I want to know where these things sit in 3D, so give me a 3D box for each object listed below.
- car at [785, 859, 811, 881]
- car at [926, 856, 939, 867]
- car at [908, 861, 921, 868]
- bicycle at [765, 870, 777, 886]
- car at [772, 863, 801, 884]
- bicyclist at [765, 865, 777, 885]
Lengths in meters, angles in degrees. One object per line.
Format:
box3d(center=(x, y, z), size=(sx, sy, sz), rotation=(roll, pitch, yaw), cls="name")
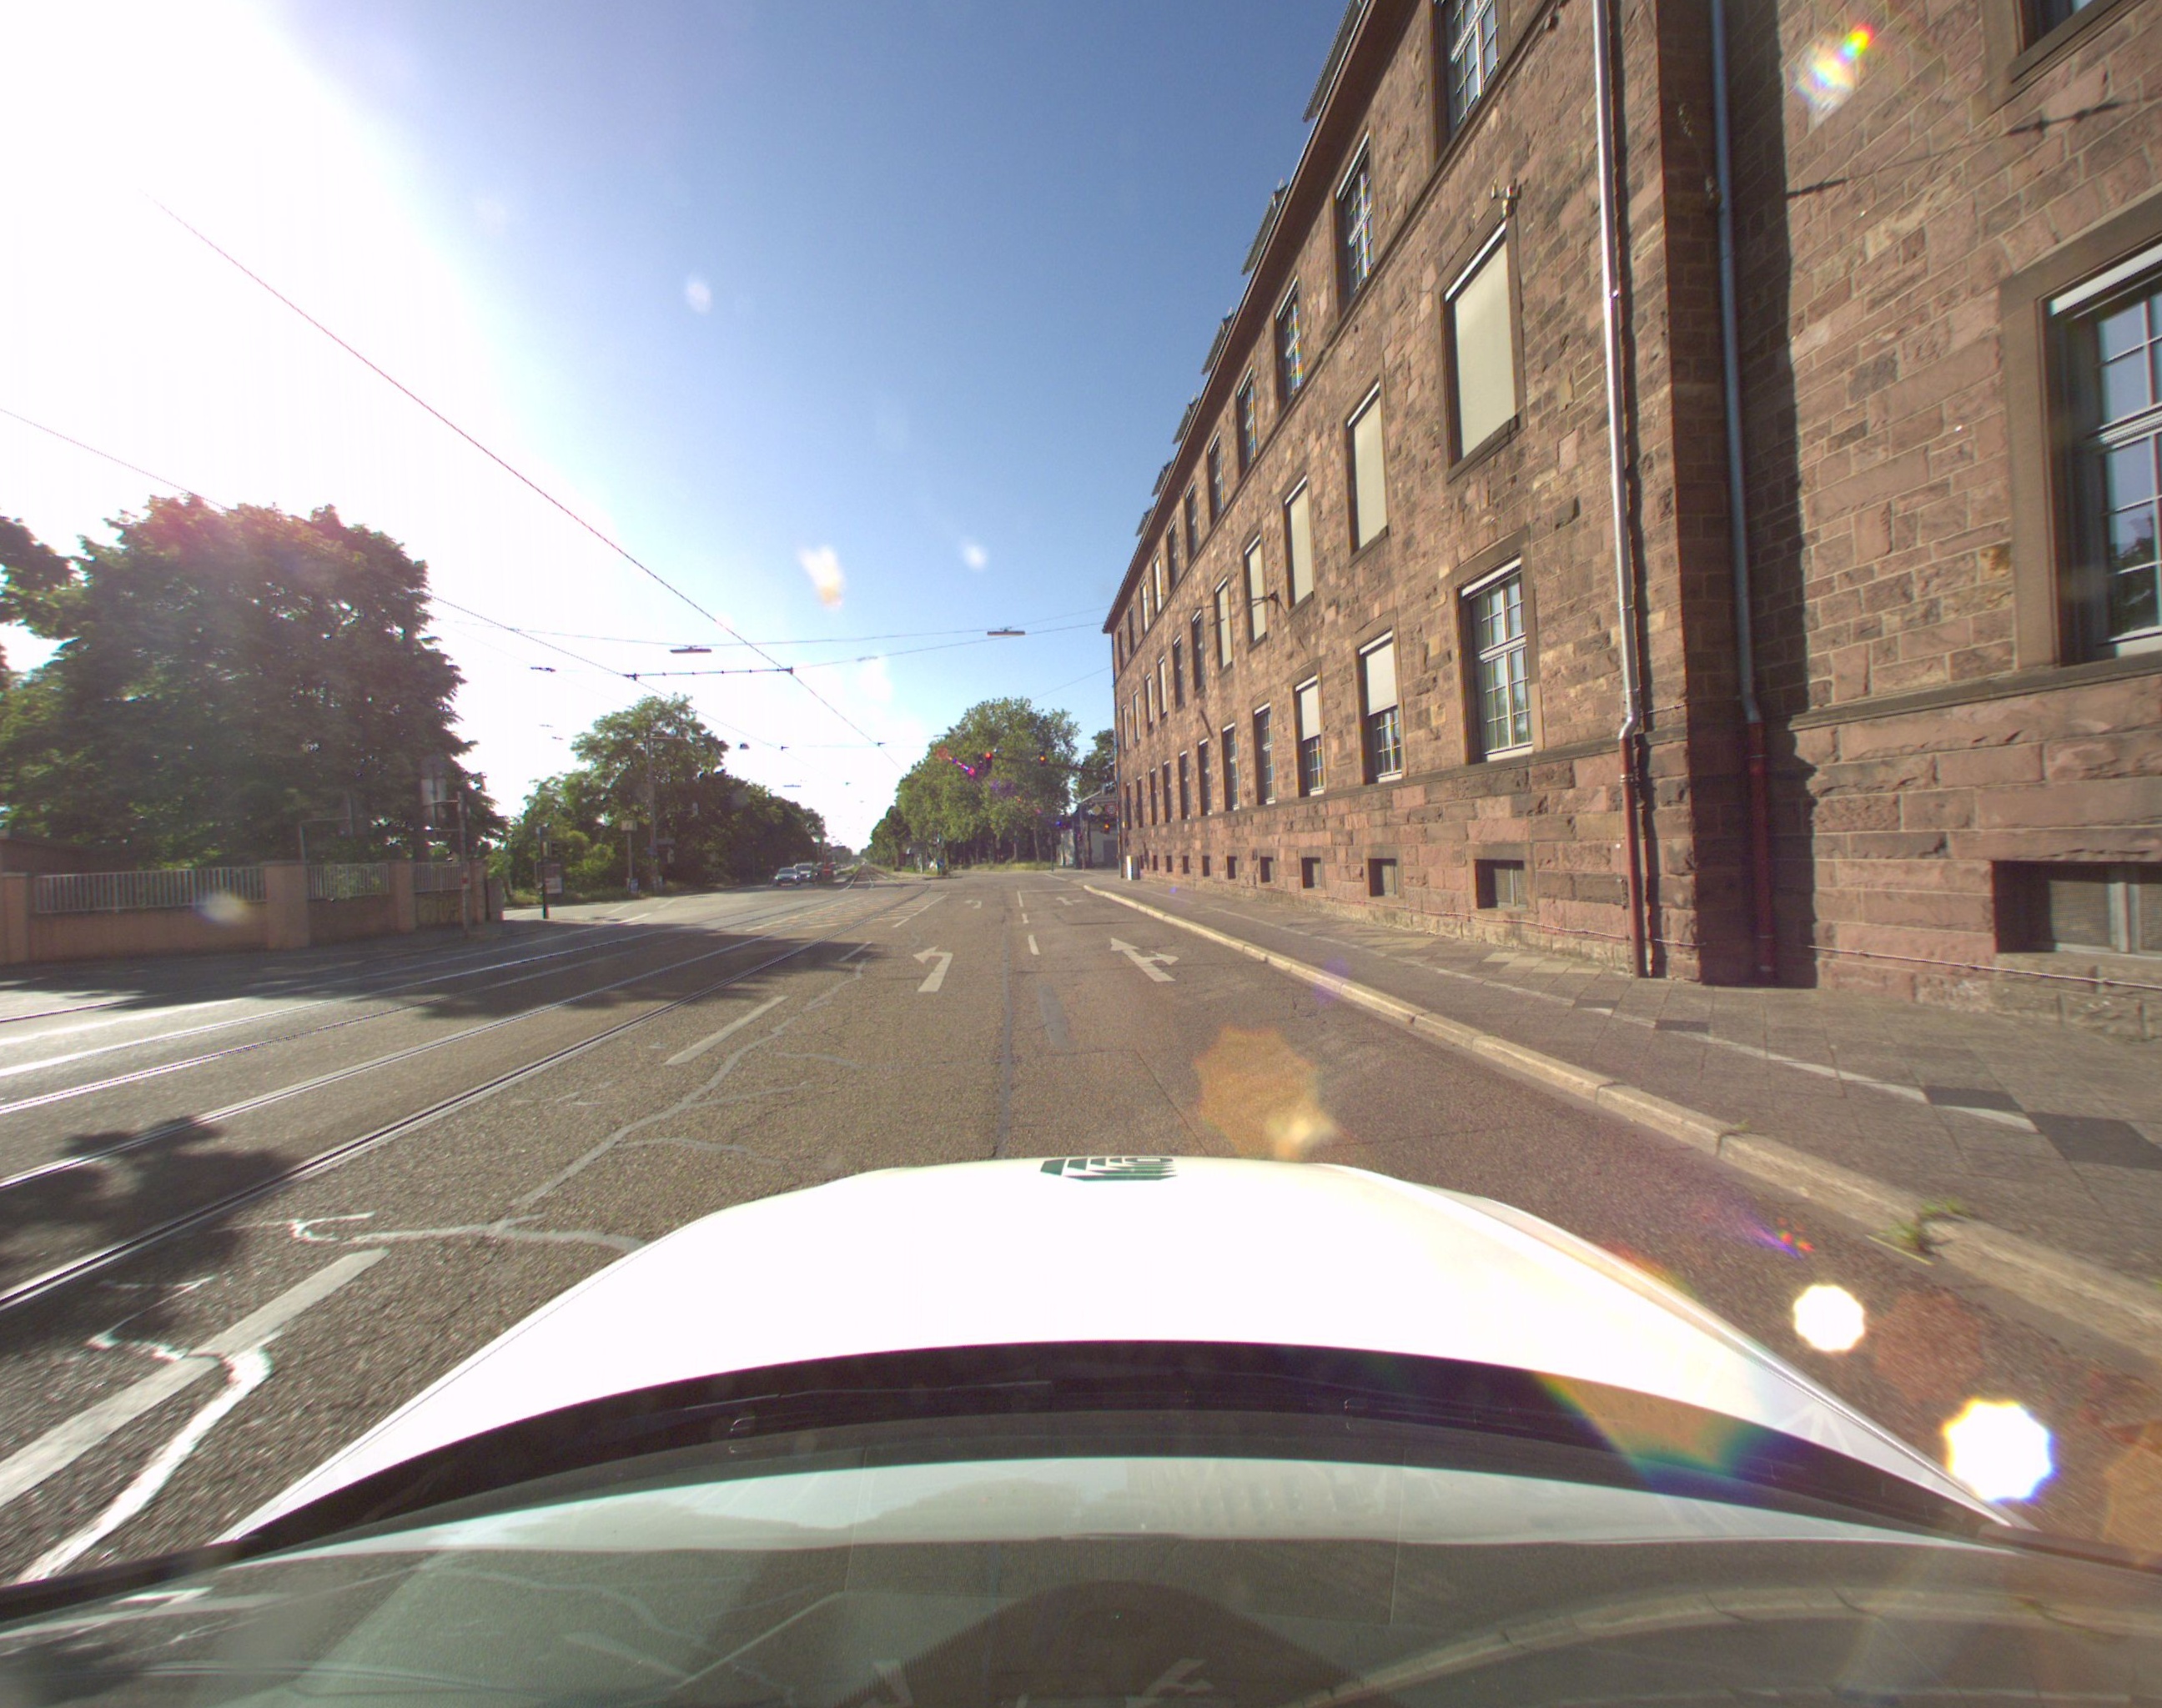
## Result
box3d(center=(-24.930, 1.384, 71.804), size=(2.000, 1.760, 3.975), rotation=(-3, 0, -19), cls="car")
box3d(center=(-23.360, 1.194, 128.075), size=(1.943, 1.610, 3.985), rotation=(-3, 0, -11), cls="car")
box3d(center=(-38.573, 2.468, 188.717), size=(1.953, 1.610, 3.966), rotation=(-4, 0, -26), cls="car")
box3d(center=(-23.603, 1.807, 61.997), size=(0.752, 1.087, 2.162), rotation=(-3, 0, -20), cls="bicycle")
box3d(center=(-23.635, 1.552, 65.497), size=(2.000, 1.504, 3.975), rotation=(-3, 0, -19), cls="car")
box3d(center=(-23.599, 1.589, 61.944), size=(0.752, 1.504, 0.958), rotation=(-3, 0, -20), cls="bicyclist")
